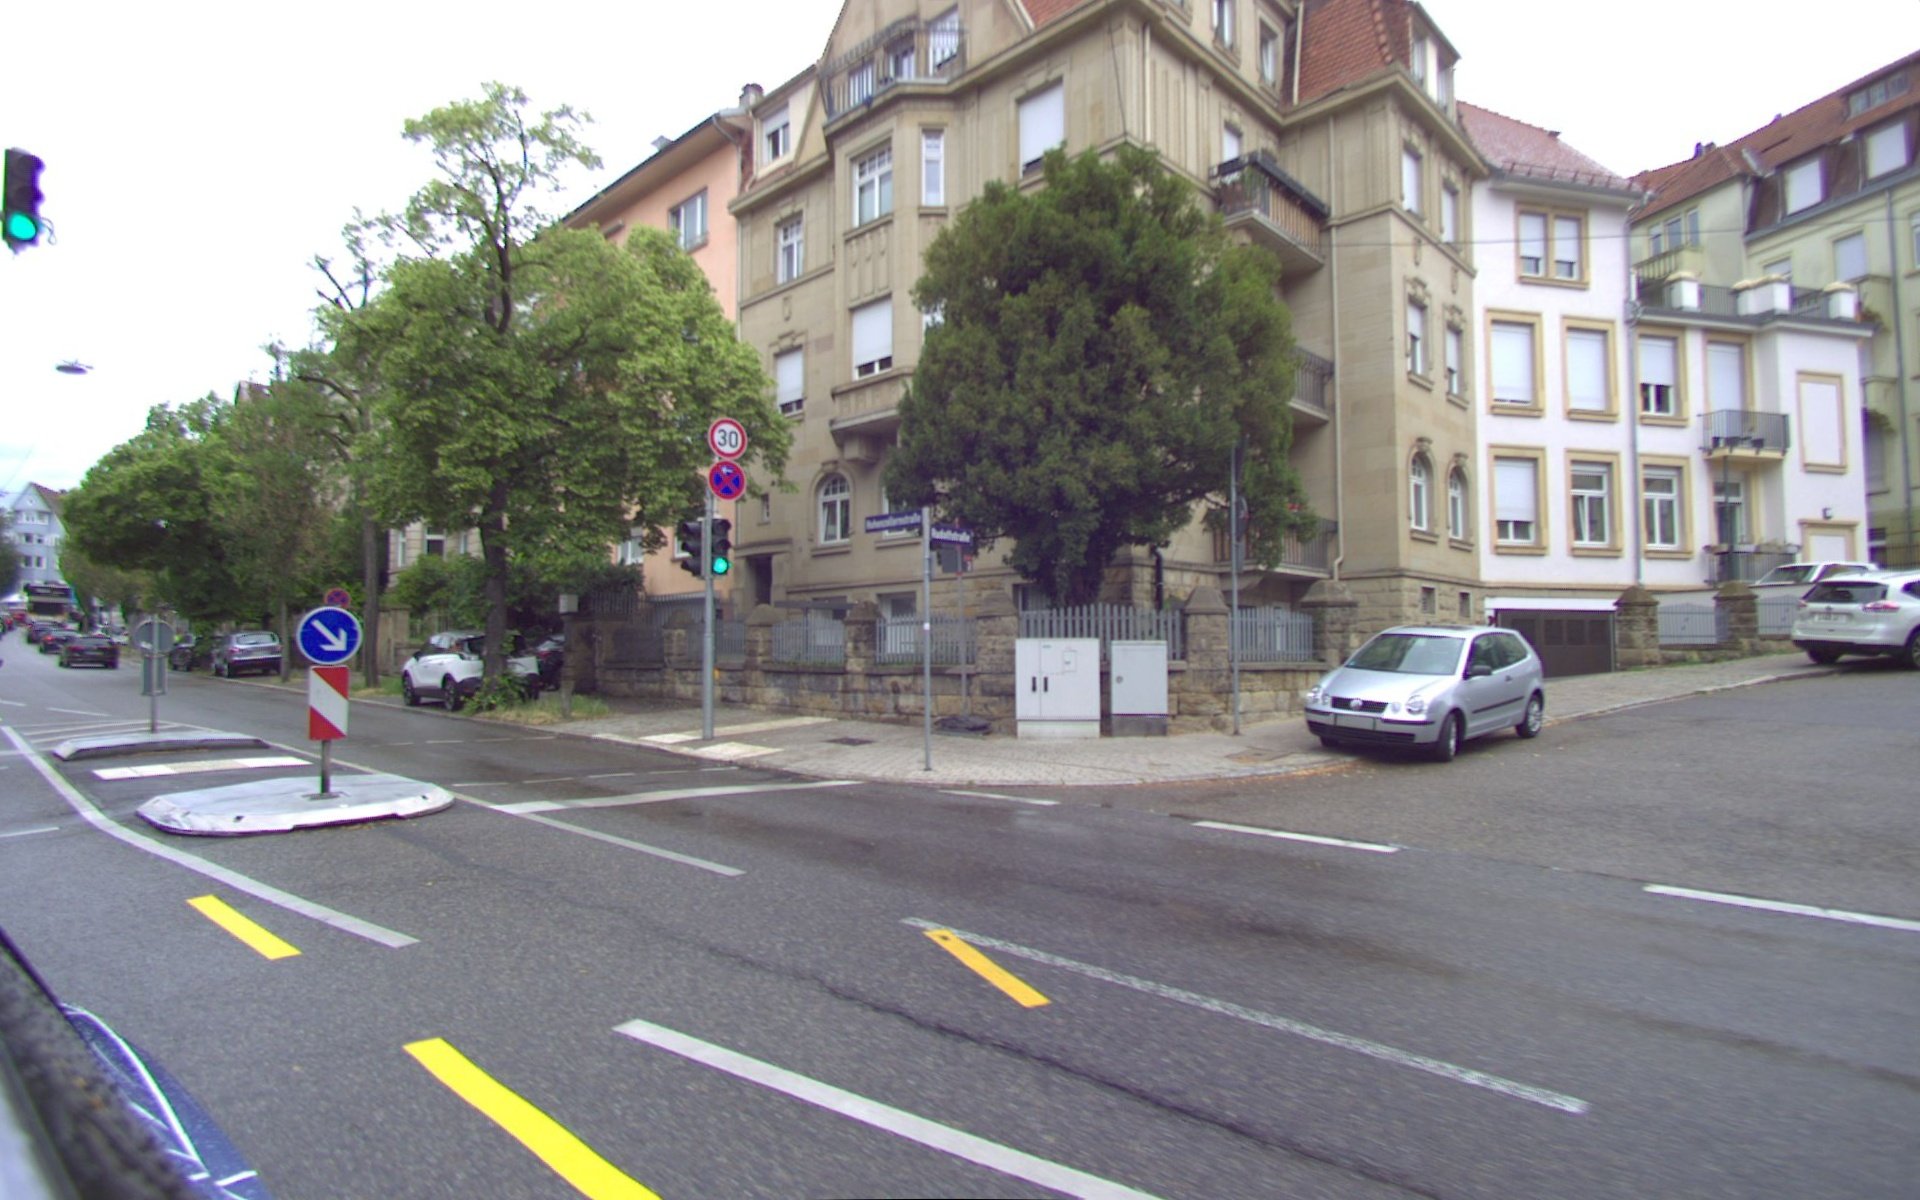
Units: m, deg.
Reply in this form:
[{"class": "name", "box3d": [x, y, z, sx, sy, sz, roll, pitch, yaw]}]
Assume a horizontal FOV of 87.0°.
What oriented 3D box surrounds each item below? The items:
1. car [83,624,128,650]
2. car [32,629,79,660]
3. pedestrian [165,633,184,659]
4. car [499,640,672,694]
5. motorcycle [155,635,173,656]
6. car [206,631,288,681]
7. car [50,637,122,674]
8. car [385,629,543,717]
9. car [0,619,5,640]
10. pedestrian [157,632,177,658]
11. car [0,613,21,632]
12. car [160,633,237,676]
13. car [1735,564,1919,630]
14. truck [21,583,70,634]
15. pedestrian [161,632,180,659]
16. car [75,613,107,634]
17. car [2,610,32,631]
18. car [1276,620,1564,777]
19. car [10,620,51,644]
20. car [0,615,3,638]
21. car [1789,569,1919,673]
[{"class": "car", "box3d": [-56.156, 2.404, 66.493, 4.301, 1.571, 1.723, 0, 0, 42]}, {"class": "car", "box3d": [-53.211, 2.622, 59.486, 4.592, 1.529, 1.752, -6, -3, 45]}, {"class": "pedestrian", "box3d": [-43.857, 2.573, 56.513, 0.757, 1.443, 0.650, 3, -3, -44]}, {"class": "car", "box3d": [-9.946, 1.758, 27.099, 1.837, 1.337, 3.943, -2, -3, 43]}, {"class": "motorcycle", "box3d": [-47.886, 2.731, 60.882, 0.647, 1.246, 1.765, 3, -2, -42]}, {"class": "car", "box3d": [-25.800, 1.961, 36.563, 4.304, 1.571, 1.721, 0, 0, 45]}, {"class": "car", "box3d": [-38.456, 2.433, 44.499, 4.547, 1.529, 1.796, -3, -5, 42]}, {"class": "car", "box3d": [-10.646, 1.470, 21.587, 4.304, 1.571, 1.721, 0, 0, 45]}, {"class": "car", "box3d": [-73.132, 2.206, 76.010, 1.740, 1.442, 3.891, 2, -1, -40]}, {"class": "pedestrian", "box3d": [-44.967, 2.548, 57.393, 0.757, 1.443, 0.760, 3, -3, -43]}, {"class": "car", "box3d": [-77.627, 1.820, 82.165, 1.690, 1.491, 4.121, 5, -4, -39]}, {"class": "car", "box3d": [-31.758, 2.227, 42.141, 4.300, 1.571, 1.723, 0, 1, 42]}, {"class": "car", "box3d": [21.183, -0.120, 24.502, 3.772, 1.485, 1.781, -1, 2, -12]}, {"class": "truck", "box3d": [-74.744, 0.741, 82.716, 2.616, 3.884, 9.317, 5, -4, -42]}, {"class": "pedestrian", "box3d": [-44.399, 2.559, 56.925, 0.757, 1.443, 0.650, 3, -3, -44]}, {"class": "car", "box3d": [-73.153, 1.988, 85.215, 1.971, 1.607, 3.833, -2, 1, -41]}, {"class": "car", "box3d": [-84.207, 1.826, 90.421, 1.631, 1.721, 4.121, 5, -3, -39]}, {"class": "car", "box3d": [5.803, 1.079, 12.602, 3.815, 1.419, 1.829, -2, 3, -41]}, {"class": "car", "box3d": [-64.663, 2.220, 70.390, 4.750, 1.478, 1.752, 1, -2, 44]}, {"class": "car", "box3d": [-68.450, 1.827, 70.992, 1.751, 1.529, 4.104, 3, -2, -43]}, {"class": "car", "box3d": [17.492, 0.296, 18.198, 4.088, 1.687, 1.926, -1, 2, -14]}]
